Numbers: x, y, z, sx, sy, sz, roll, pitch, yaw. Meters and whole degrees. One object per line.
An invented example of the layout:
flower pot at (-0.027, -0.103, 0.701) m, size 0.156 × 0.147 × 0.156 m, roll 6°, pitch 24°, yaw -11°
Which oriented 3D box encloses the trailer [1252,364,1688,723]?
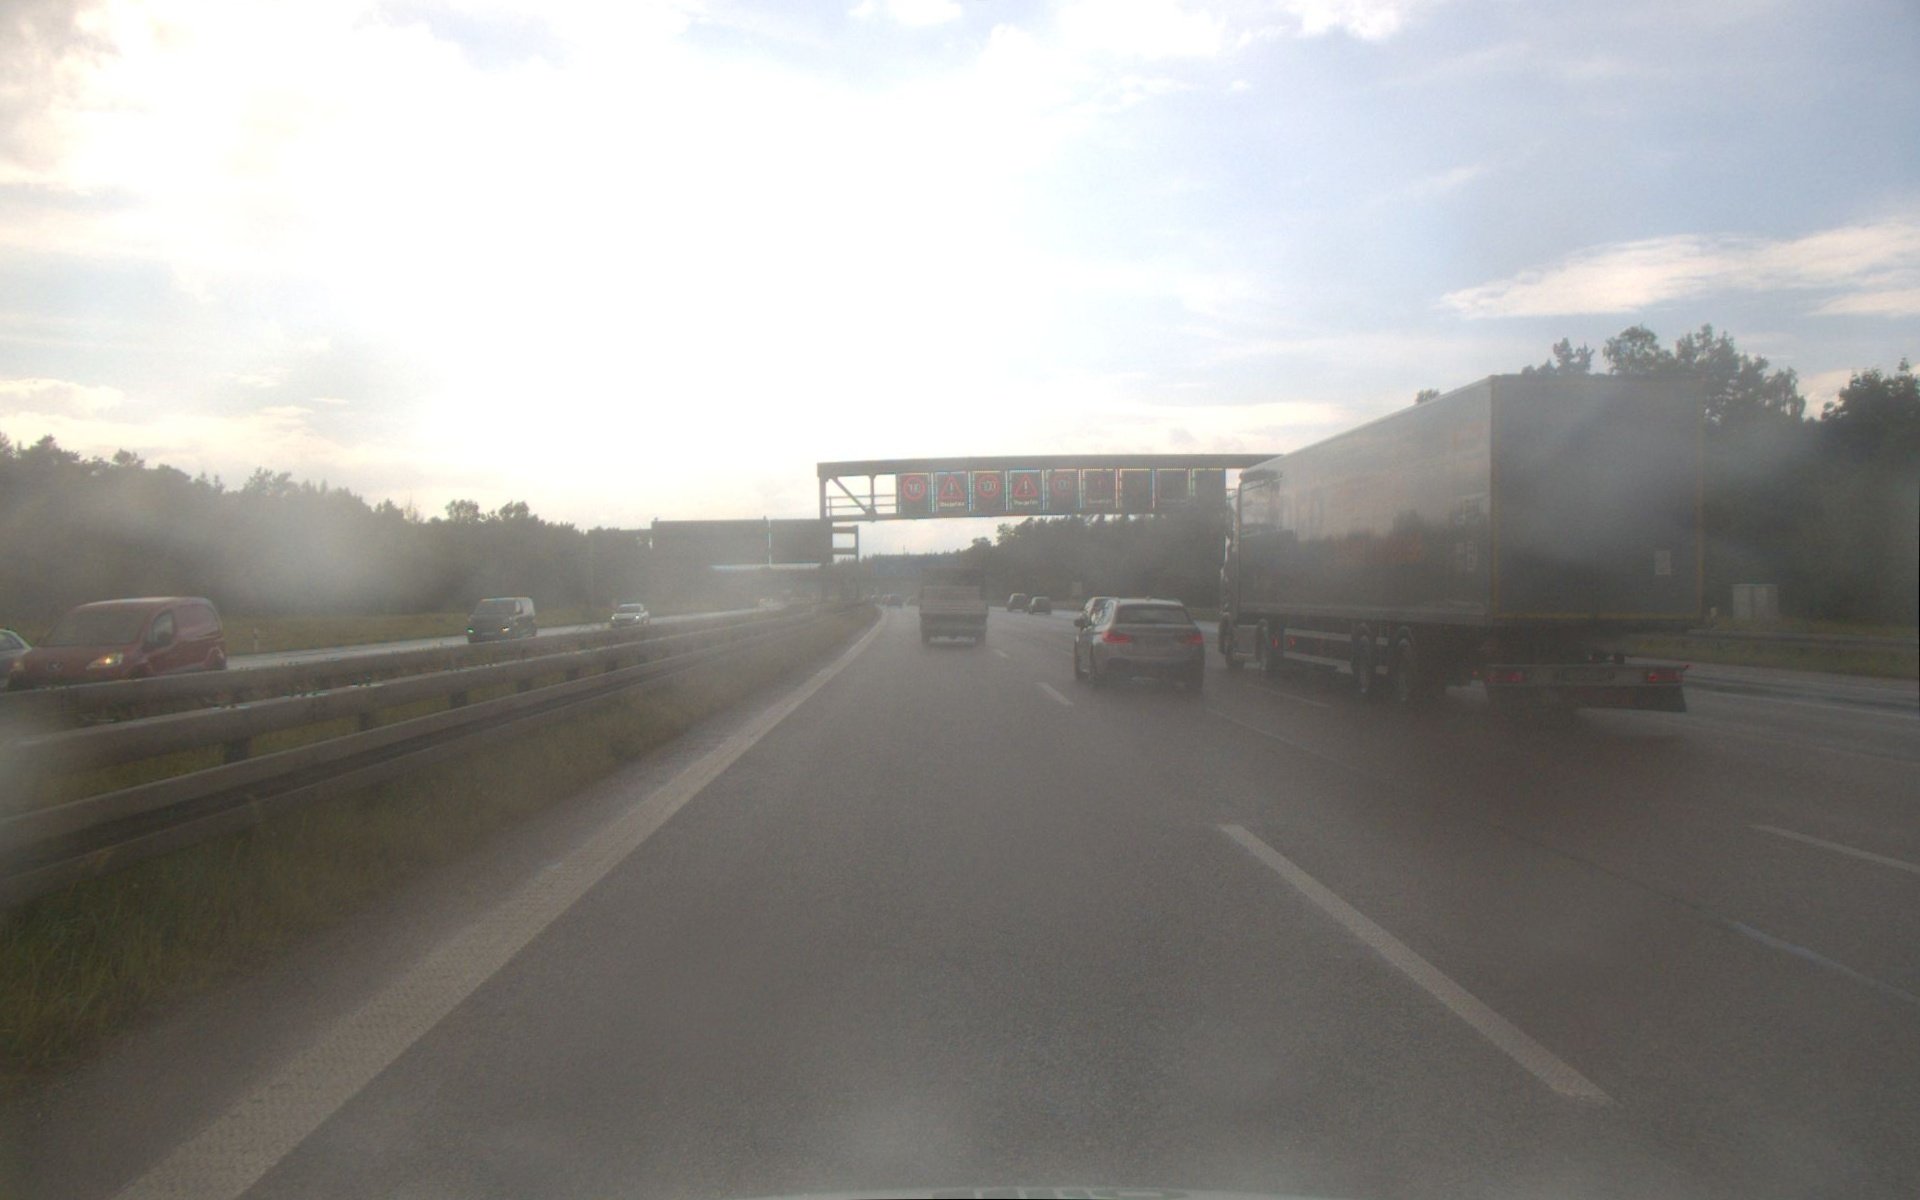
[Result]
trailer at (6.965, -0.698, 25.450) m, size 2.277 × 4.071 × 13.408 m, roll 0°, pitch 0°, yaw -1°

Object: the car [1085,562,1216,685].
car at (3.172, 0.352, 28.456) m, size 2.034 × 1.918 × 5.014 m, roll 0°, pitch 0°, yaw 4°

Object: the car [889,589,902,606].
car at (-8.215, -0.335, 209.970) m, size 1.584 × 2.049 × 3.999 m, roll 1°, pitch 1°, yaw -2°

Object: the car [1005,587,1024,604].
car at (5.590, -0.452, 169.052) m, size 1.705 × 1.718 × 3.999 m, roll 0°, pitch 0°, yaw -1°

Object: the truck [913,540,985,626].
truck at (-0.278, -0.532, 51.104) m, size 2.093 × 2.532 × 5.313 m, roll 0°, pitch 1°, yaw 1°

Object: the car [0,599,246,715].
car at (-13.230, 0.814, 26.134) m, size 1.953 × 1.637 × 4.608 m, roll 0°, pitch 0°, yaw -1°

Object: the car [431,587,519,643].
car at (-18.452, 0.525, 63.173) m, size 1.953 × 1.950 × 4.723 m, roll -3°, pitch 1°, yaw -1°

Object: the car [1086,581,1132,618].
car at (6.324, -0.045, 70.627) m, size 1.793 × 1.492 × 4.002 m, roll 0°, pitch 1°, yaw 3°

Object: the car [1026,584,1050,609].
car at (6.765, -0.327, 143.265) m, size 1.952 × 2.049 × 4.001 m, roll 1°, pitch 1°, yaw 2°

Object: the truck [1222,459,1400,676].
truck at (6.799, -0.617, 32.703) m, size 2.247 × 3.935 × 5.391 m, roll 0°, pitch 0°, yaw -1°

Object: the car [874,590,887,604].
car at (-12.379, -0.518, 257.069) m, size 1.758 × 2.049 × 4.000 m, roll 1°, pitch 1°, yaw 0°
